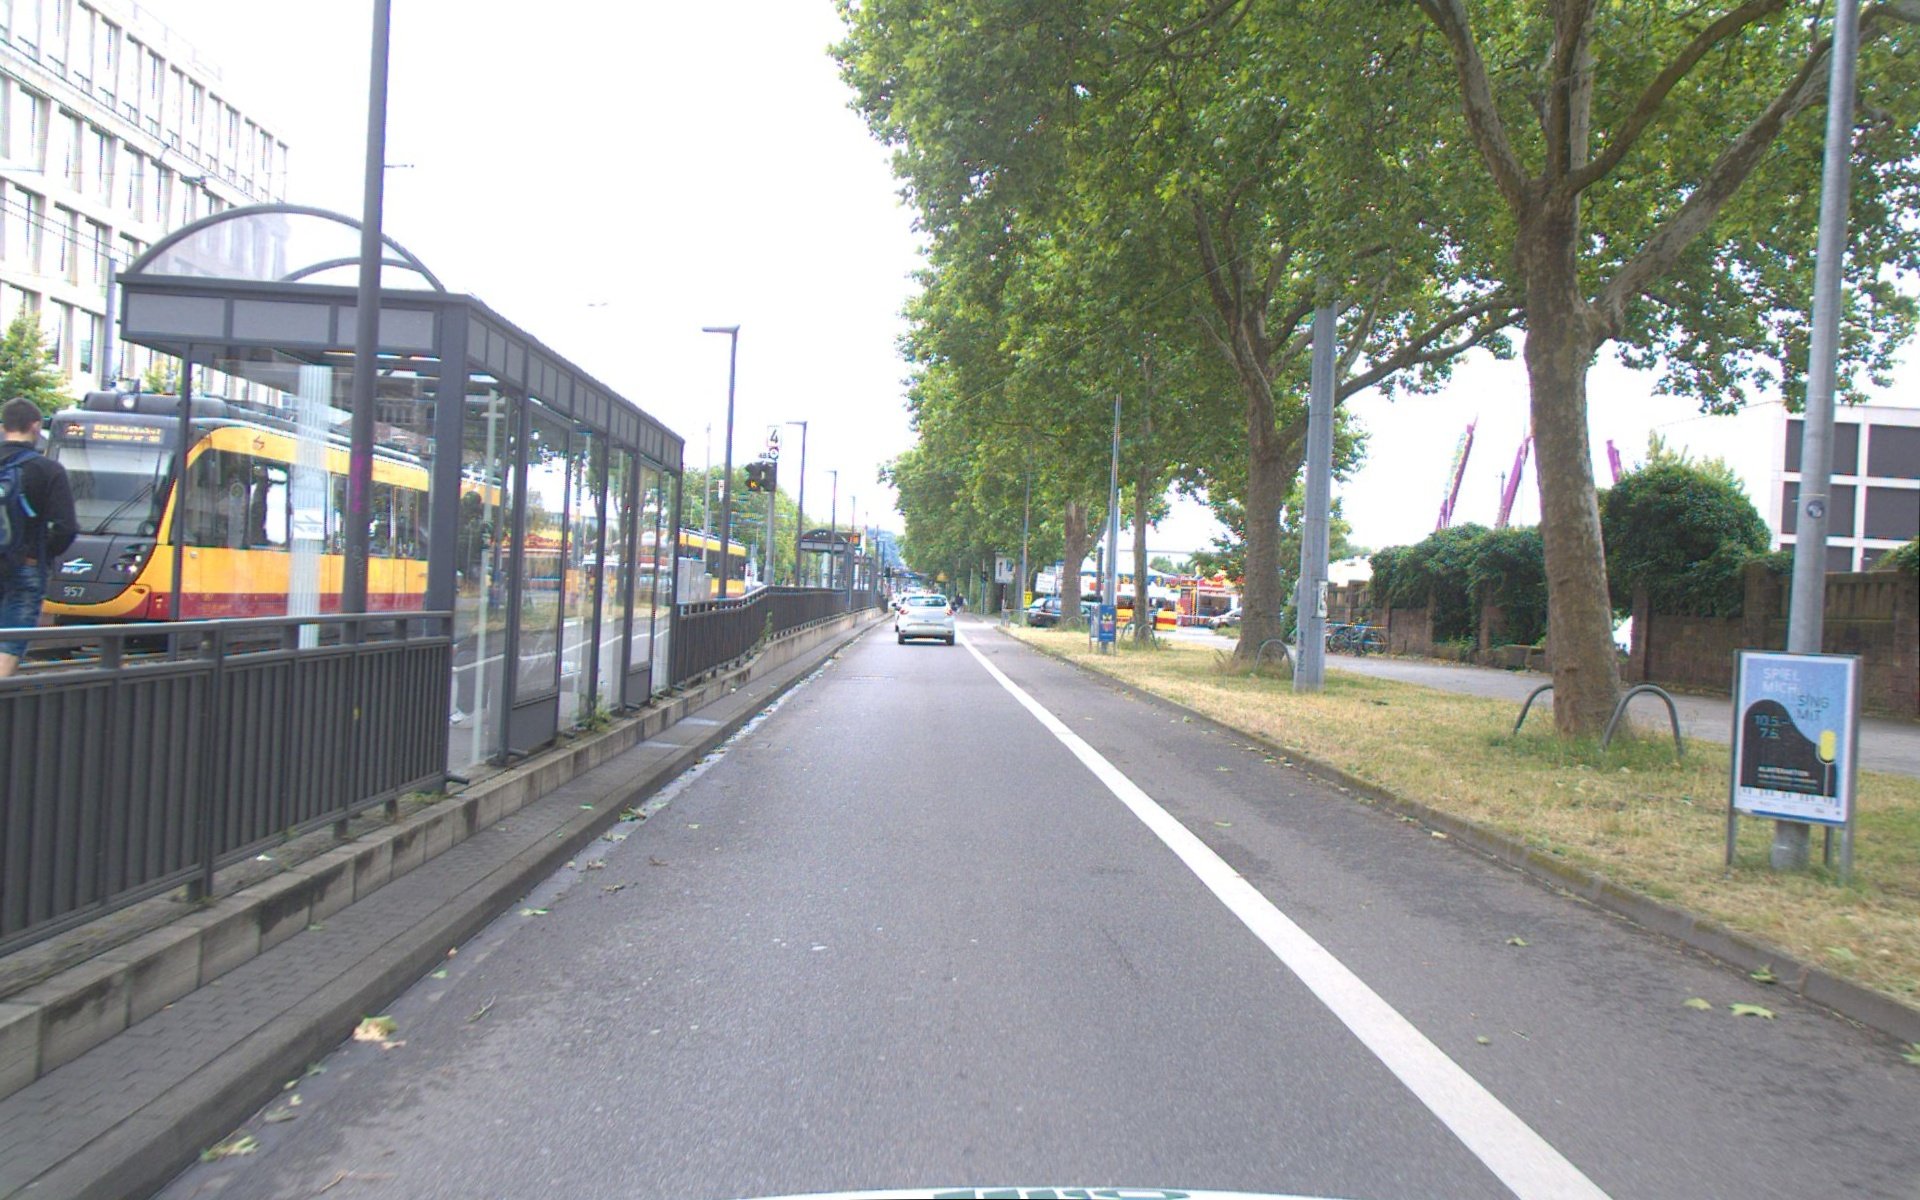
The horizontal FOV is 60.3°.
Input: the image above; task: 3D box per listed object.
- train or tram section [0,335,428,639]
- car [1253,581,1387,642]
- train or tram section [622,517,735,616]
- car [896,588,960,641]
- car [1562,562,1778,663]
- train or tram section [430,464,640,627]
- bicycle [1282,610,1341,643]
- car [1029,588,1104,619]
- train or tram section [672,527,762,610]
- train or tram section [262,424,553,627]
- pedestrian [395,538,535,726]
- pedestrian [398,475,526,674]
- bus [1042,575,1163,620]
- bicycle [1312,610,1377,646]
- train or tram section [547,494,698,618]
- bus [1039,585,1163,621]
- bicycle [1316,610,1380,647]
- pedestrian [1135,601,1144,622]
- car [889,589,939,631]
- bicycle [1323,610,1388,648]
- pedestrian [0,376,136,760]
[{"bbox_3d":[-12.246,-1.492,27.535,3.172,3.929,11.308,3,0,-1],"label":"train or tram section"},{"bbox_3d":[17.318,0.552,79.792,5.904,2.600,2.099,3,-1,-3],"label":"car"},{"bbox_3d":[-13.443,-1.451,80.402,3.116,4.252,14.729,3,0,-1],"label":"train or tram section"},{"bbox_3d":[-0.961,0.446,51.092,1.847,1.478,3.999,3,0,-1],"label":"car"},{"bbox_3d":[18.859,0.338,44.017,4.996,2.303,1.664,4,-1,-5],"label":"car"},{"bbox_3d":[-12.775,-1.440,51.459,3.116,4.252,13.616,3,0,-1],"label":"train or tram section"},{"bbox_3d":[11.979,0.904,56.431,1.883,1.110,0.549,1,0,-4],"label":"bicycle"},{"bbox_3d":[5.745,0.194,89.303,3.905,1.512,1.787,2,0,1],"label":"car"},{"bbox_3d":[-13.780,-1.620,95.088,3.116,4.252,14.729,3,0,-1],"label":"train or tram section"},{"bbox_3d":[-12.499,-1.473,38.929,3.100,3.929,11.308,3,0,-1],"label":"train or tram section"},{"bbox_3d":[-3.672,0.232,12.317,0.818,1.326,0.613,3,-1,-3],"label":"pedestrian"},{"bbox_3d":[-5.350,-0.268,17.822,1.037,2.049,0.840,3,-1,-2],"label":"pedestrian"},{"bbox_3d":[11.105,-0.177,128.792,9.095,3.011,1.998,3,-1,-4],"label":"bus"},{"bbox_3d":[12.203,0.892,52.496,1.935,1.114,0.549,1,0,-4],"label":"bicycle"},{"bbox_3d":[-13.072,-1.515,65.673,3.116,4.252,14.729,3,0,-1],"label":"train or tram section"},{"bbox_3d":[10.679,0.234,125.639,9.095,2.266,1.998,3,-1,-4],"label":"bus"},{"bbox_3d":[12.161,0.897,51.856,1.862,1.116,0.549,1,0,-4],"label":"bicycle"},{"bbox_3d":[12.975,0.818,119.463,0.483,1.488,0.523,3,-1,-4],"label":"pedestrian"},{"bbox_3d":[-1.800,0.380,65.599,1.803,1.579,4.000,2,0,0],"label":"car"},{"bbox_3d":[12.254,0.904,51.281,1.852,1.124,0.549,1,0,-4],"label":"bicycle"},{"bbox_3d":[-4.760,-0.161,8.405,0.658,1.825,1.110,3,-1,-10],"label":"pedestrian"}]
